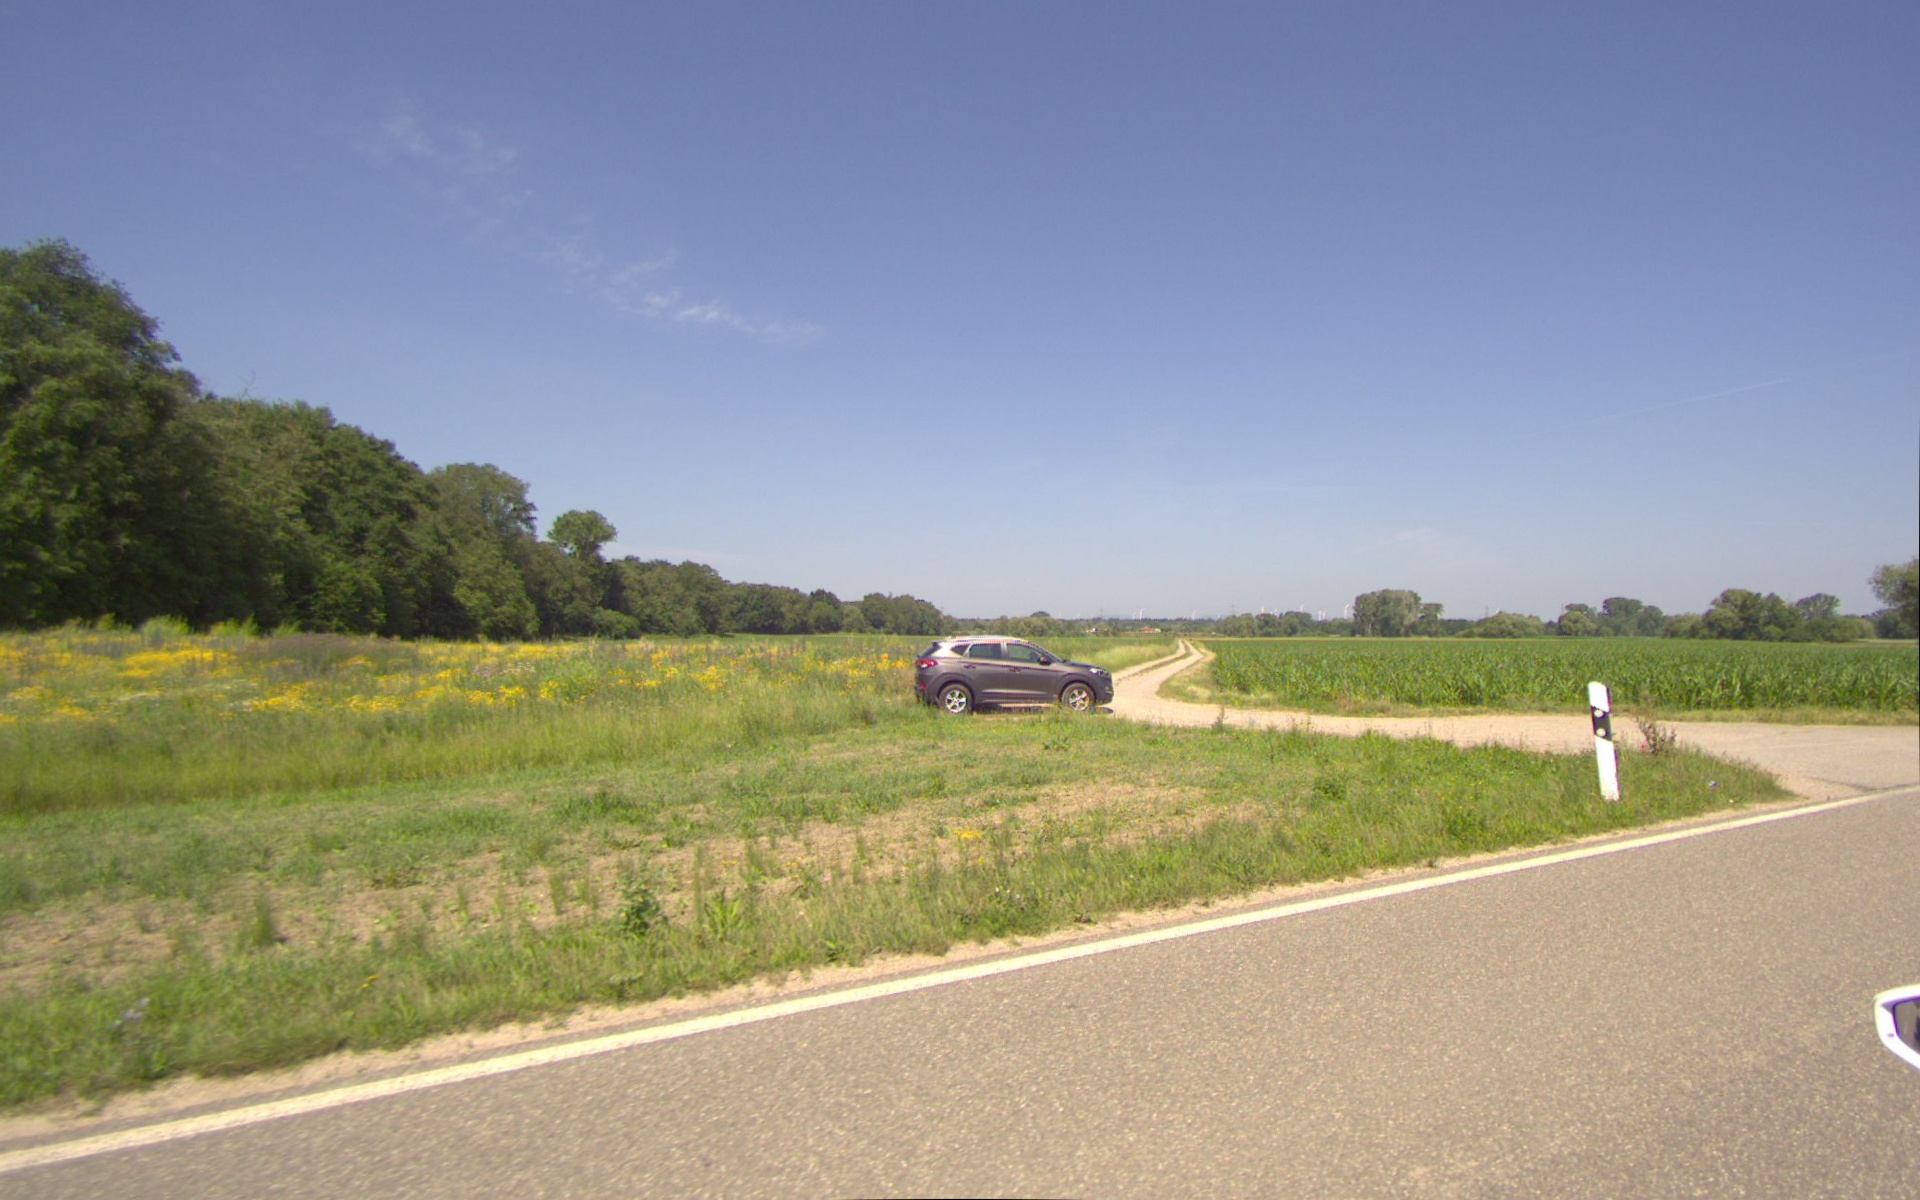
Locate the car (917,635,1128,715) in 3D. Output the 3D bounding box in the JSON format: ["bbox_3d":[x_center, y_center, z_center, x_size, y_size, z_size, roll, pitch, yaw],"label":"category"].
[{"bbox_3d":[1.302,1.606,22.156,4.442,1.673,1.758,0,-2,-4],"label":"car"}]
